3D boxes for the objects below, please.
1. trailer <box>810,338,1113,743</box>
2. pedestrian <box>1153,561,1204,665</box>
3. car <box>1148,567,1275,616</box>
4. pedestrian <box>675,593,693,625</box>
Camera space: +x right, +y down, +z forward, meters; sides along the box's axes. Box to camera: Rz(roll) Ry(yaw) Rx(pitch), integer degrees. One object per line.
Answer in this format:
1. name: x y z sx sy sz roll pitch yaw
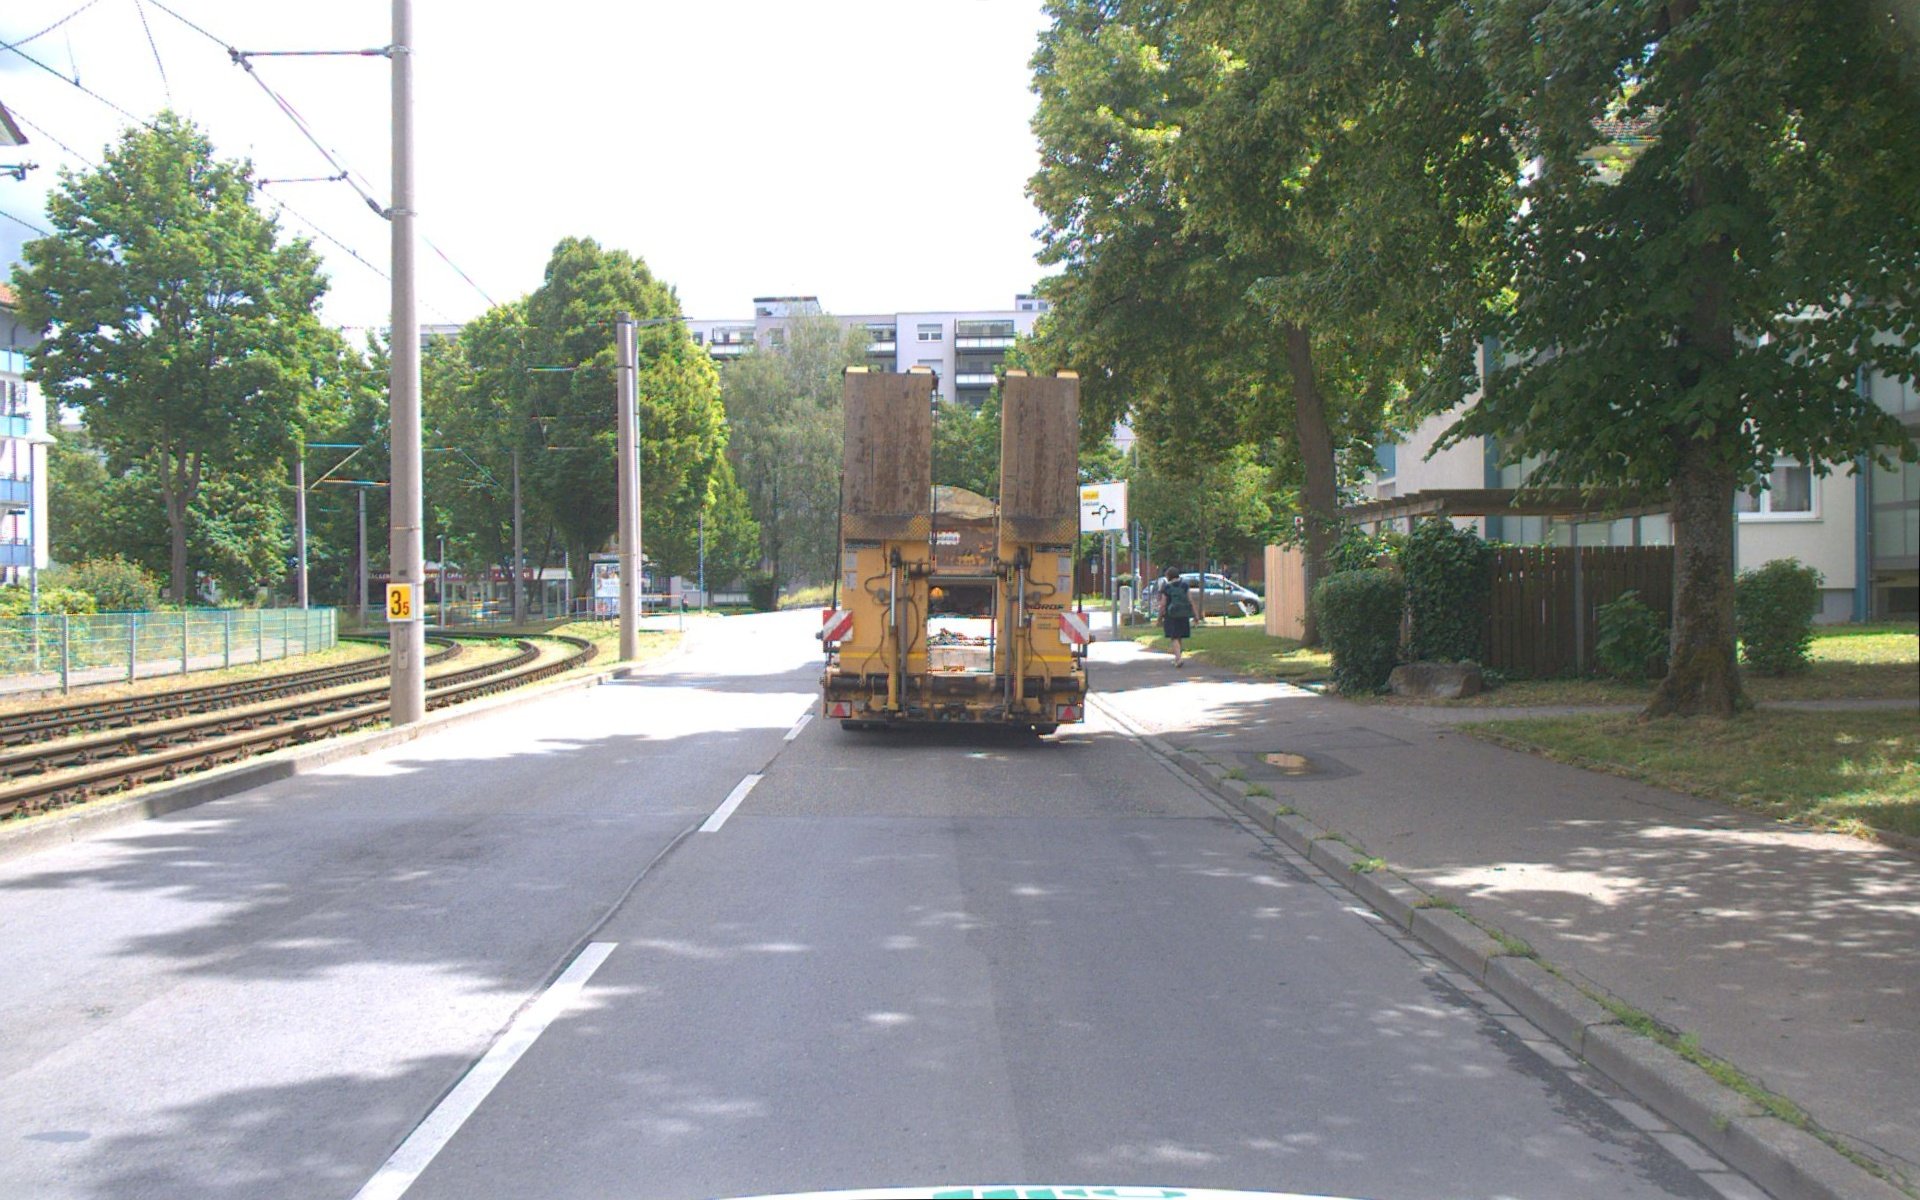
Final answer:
1. trailer: -0.218 -0.604 21.505 2.770 3.709 12.349 1 1 -2
2. pedestrian: 3.721 0.213 28.170 0.703 1.736 0.766 -2 1 -1
3. car: 8.526 -0.295 56.226 3.918 1.588 1.754 1 0 -13
4. pedestrian: -18.074 0.588 108.317 0.898 2.049 0.952 1 0 -32
